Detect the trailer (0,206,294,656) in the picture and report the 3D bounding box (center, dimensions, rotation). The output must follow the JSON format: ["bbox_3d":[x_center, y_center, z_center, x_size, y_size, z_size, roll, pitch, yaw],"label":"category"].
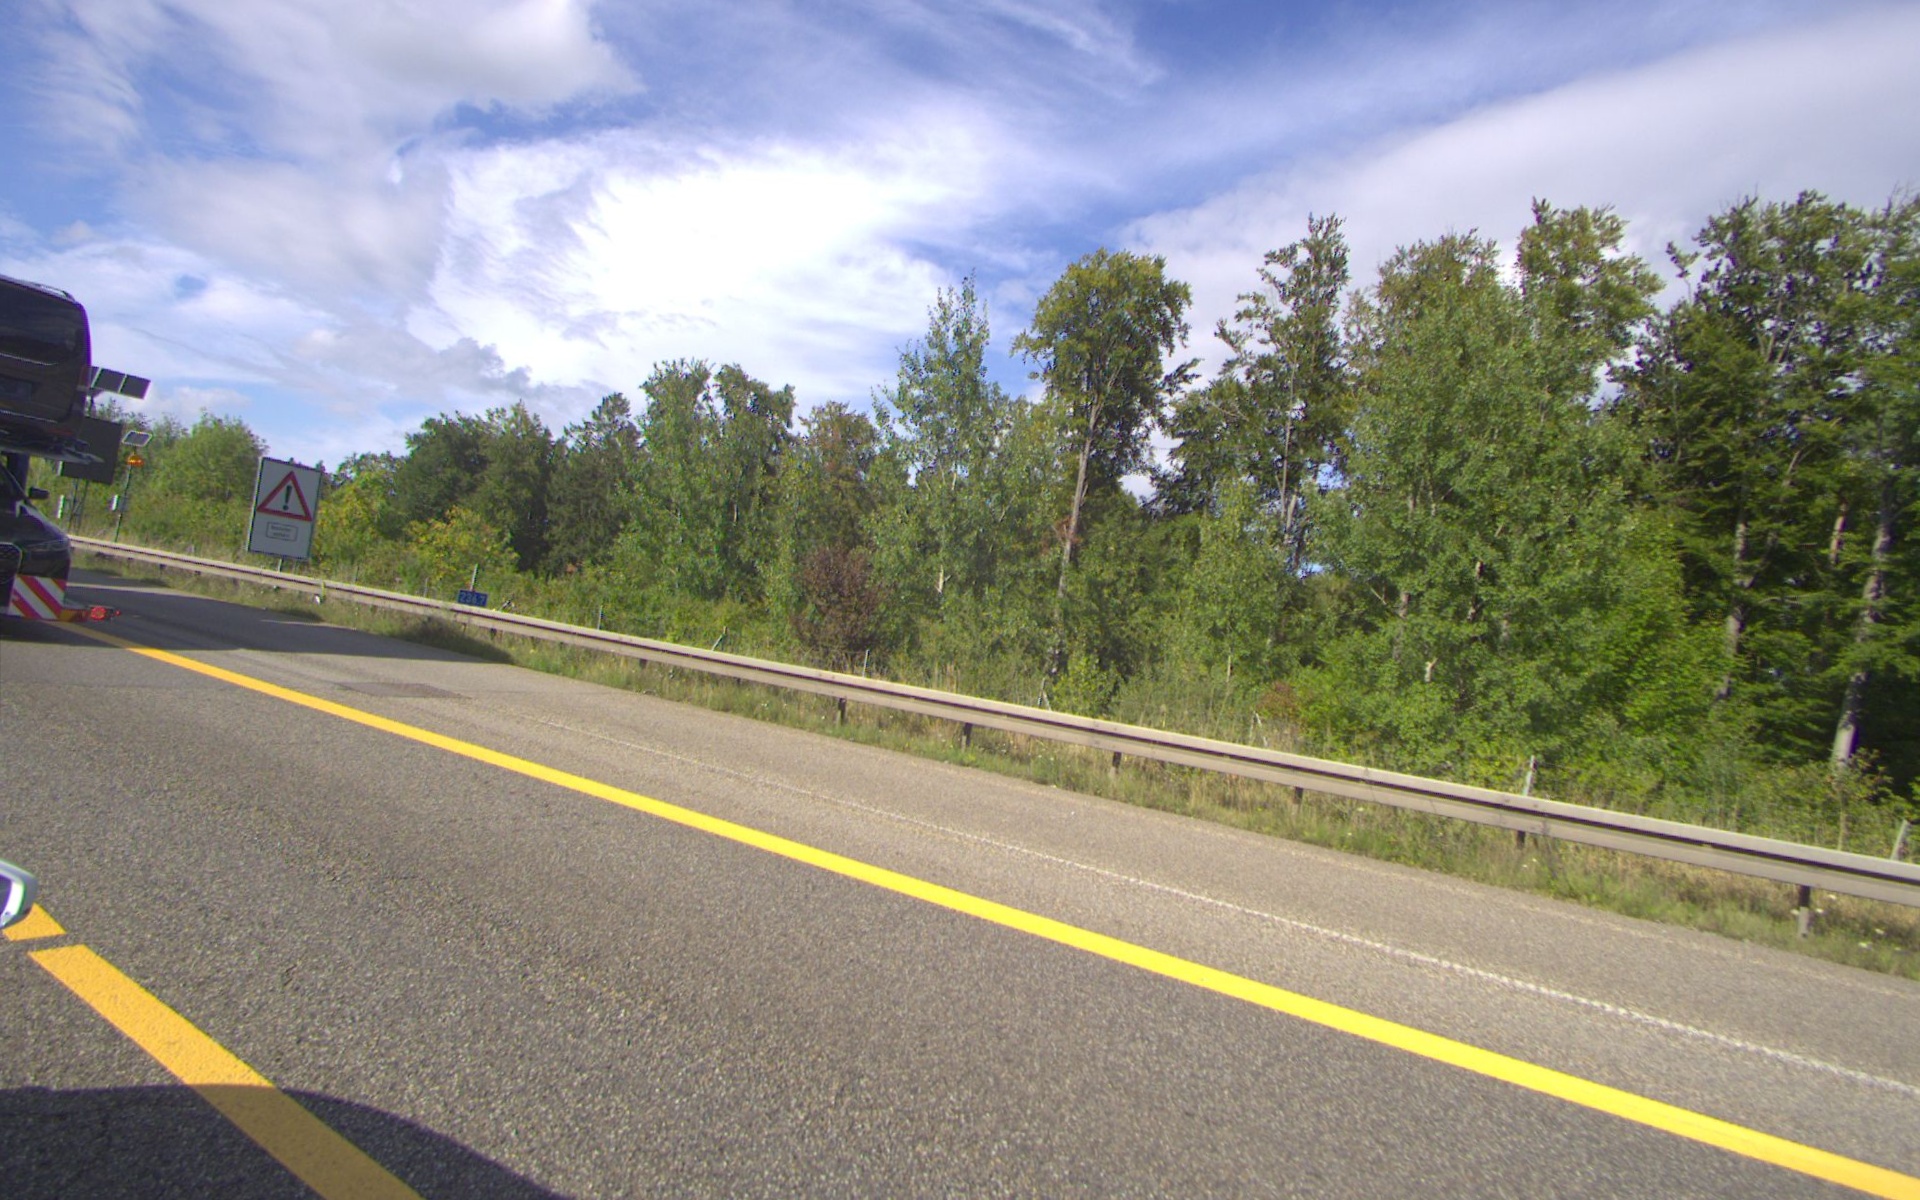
[{"bbox_3d":[-15.914,-2.396,14.582,15.958,4.245,3.734,7,-2,32],"label":"trailer"}]
